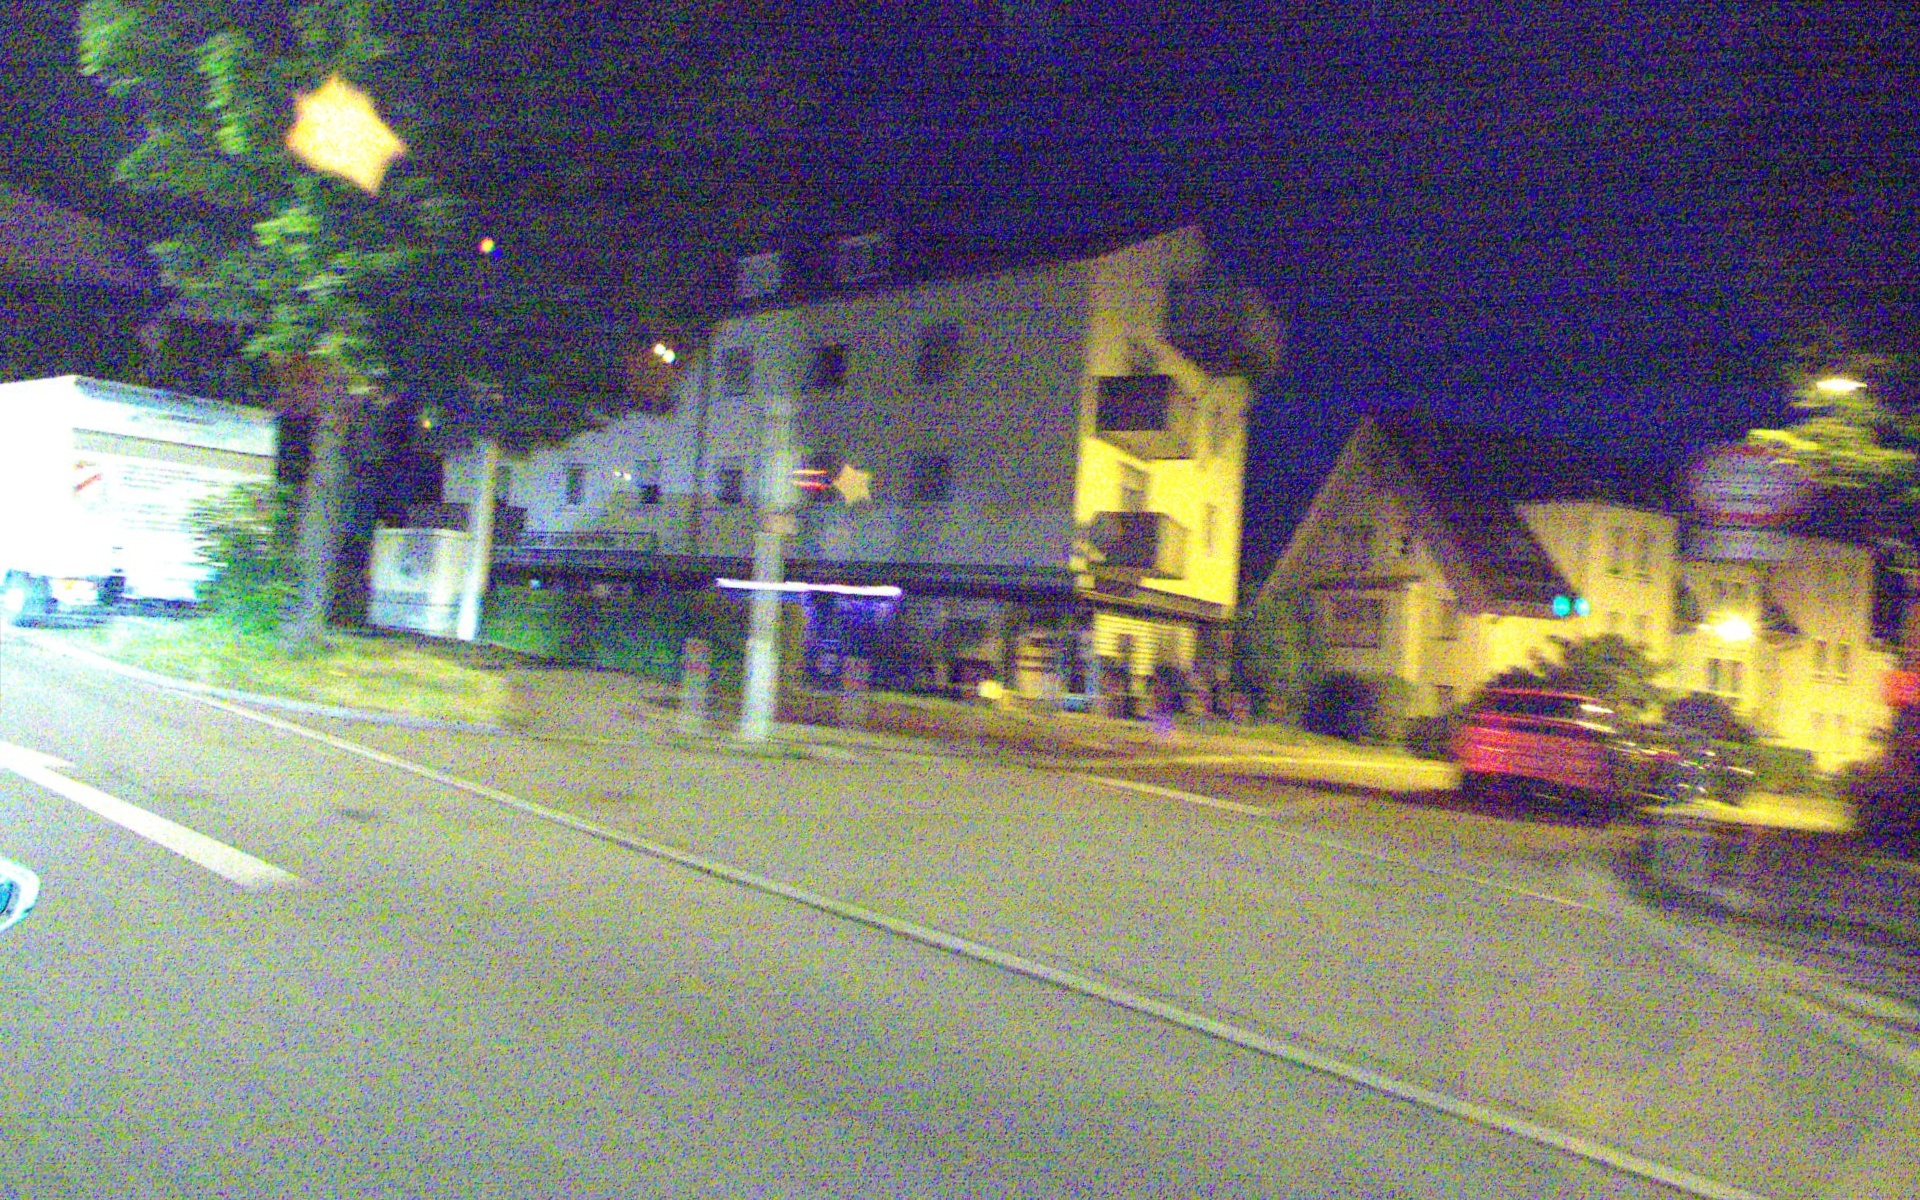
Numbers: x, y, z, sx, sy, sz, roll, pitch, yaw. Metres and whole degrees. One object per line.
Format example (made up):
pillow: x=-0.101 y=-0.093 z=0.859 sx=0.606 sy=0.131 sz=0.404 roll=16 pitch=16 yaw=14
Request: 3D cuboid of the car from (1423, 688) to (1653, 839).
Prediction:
car: x=8.289 y=2.240 z=14.229 sx=2.024 sy=1.573 sz=4.240 roll=5 pitch=-4 yaw=40

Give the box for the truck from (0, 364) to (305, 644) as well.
truck: x=-12.570 y=-1.309 z=14.185 sx=6.920 sy=3.083 sz=2.765 roll=6 pitch=1 yaw=32

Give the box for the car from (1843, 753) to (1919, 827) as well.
car: x=21.821 y=4.373 z=22.714 sx=3.654 sy=1.373 sz=1.629 roll=8 pitch=-2 yaw=-29

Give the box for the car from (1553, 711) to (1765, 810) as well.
car: x=12.660 y=2.920 z=18.155 sx=4.042 sy=1.402 sz=1.863 roll=9 pitch=-4 yaw=-36
